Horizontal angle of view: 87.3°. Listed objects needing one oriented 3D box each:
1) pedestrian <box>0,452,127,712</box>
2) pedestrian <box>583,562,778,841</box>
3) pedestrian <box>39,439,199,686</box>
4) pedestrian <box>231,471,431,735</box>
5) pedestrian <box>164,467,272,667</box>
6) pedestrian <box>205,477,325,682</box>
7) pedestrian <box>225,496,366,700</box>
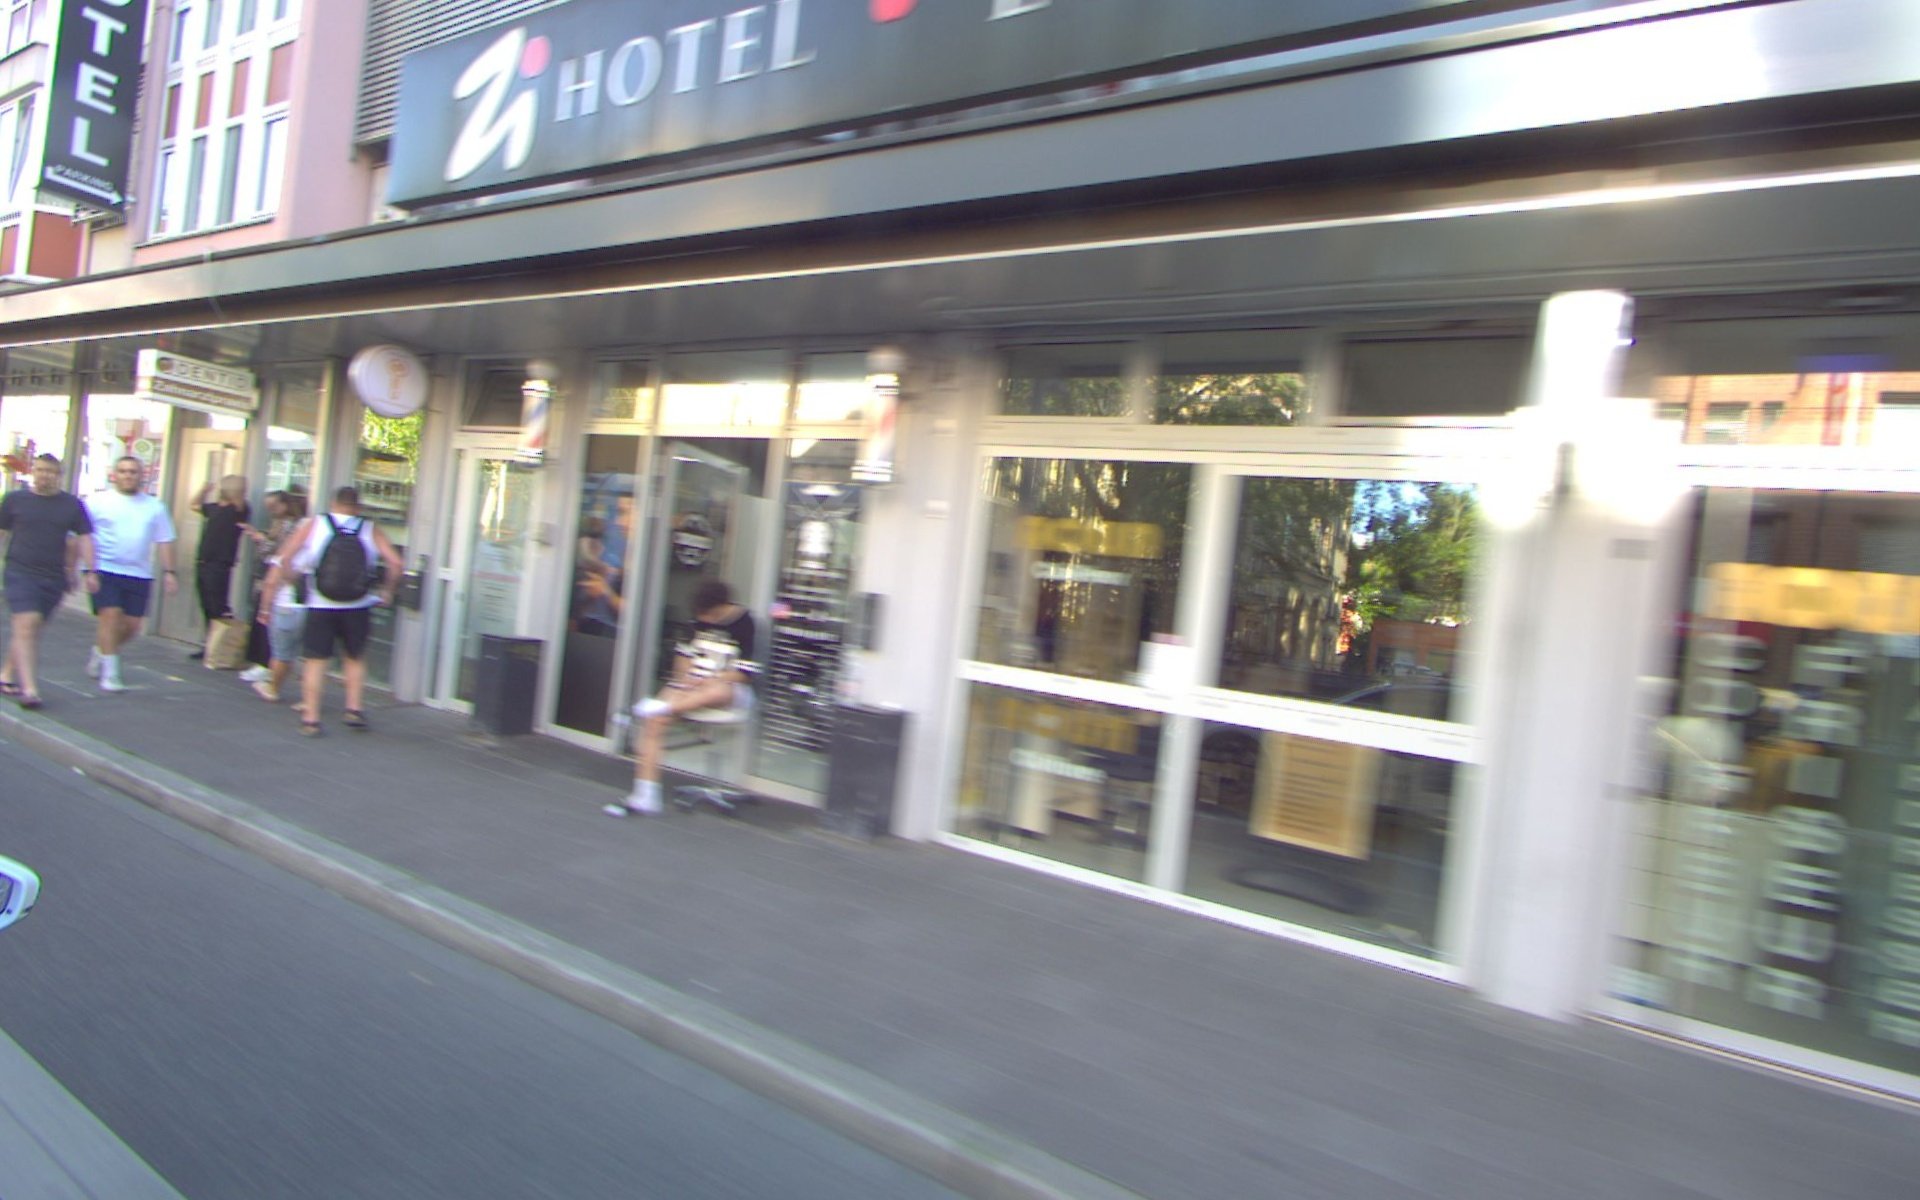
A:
[{"bbox_3d":[-6.626,-0.143,7.245,0.797,1.752,0.667,7,3,31],"label":"pedestrian"},{"bbox_3d":[-1.661,0.565,6.012,0.695,1.492,0.738,7,3,32],"label":"pedestrian"},{"bbox_3d":[-6.717,-0.296,8.042,0.750,1.844,0.706,7,3,31],"label":"pedestrian"},{"bbox_3d":[-4.504,0.031,7.222,0.801,1.747,0.746,7,-2,32],"label":"pedestrian"},{"bbox_3d":[-7.296,-0.324,9.886,0.798,1.873,0.451,7,1,30],"label":"pedestrian"},{"bbox_3d":[-6.360,-0.175,9.218,0.492,1.792,0.630,7,1,32],"label":"pedestrian"},{"bbox_3d":[-5.245,-0.017,7.948,0.643,1.503,0.636,7,3,30],"label":"pedestrian"}]
